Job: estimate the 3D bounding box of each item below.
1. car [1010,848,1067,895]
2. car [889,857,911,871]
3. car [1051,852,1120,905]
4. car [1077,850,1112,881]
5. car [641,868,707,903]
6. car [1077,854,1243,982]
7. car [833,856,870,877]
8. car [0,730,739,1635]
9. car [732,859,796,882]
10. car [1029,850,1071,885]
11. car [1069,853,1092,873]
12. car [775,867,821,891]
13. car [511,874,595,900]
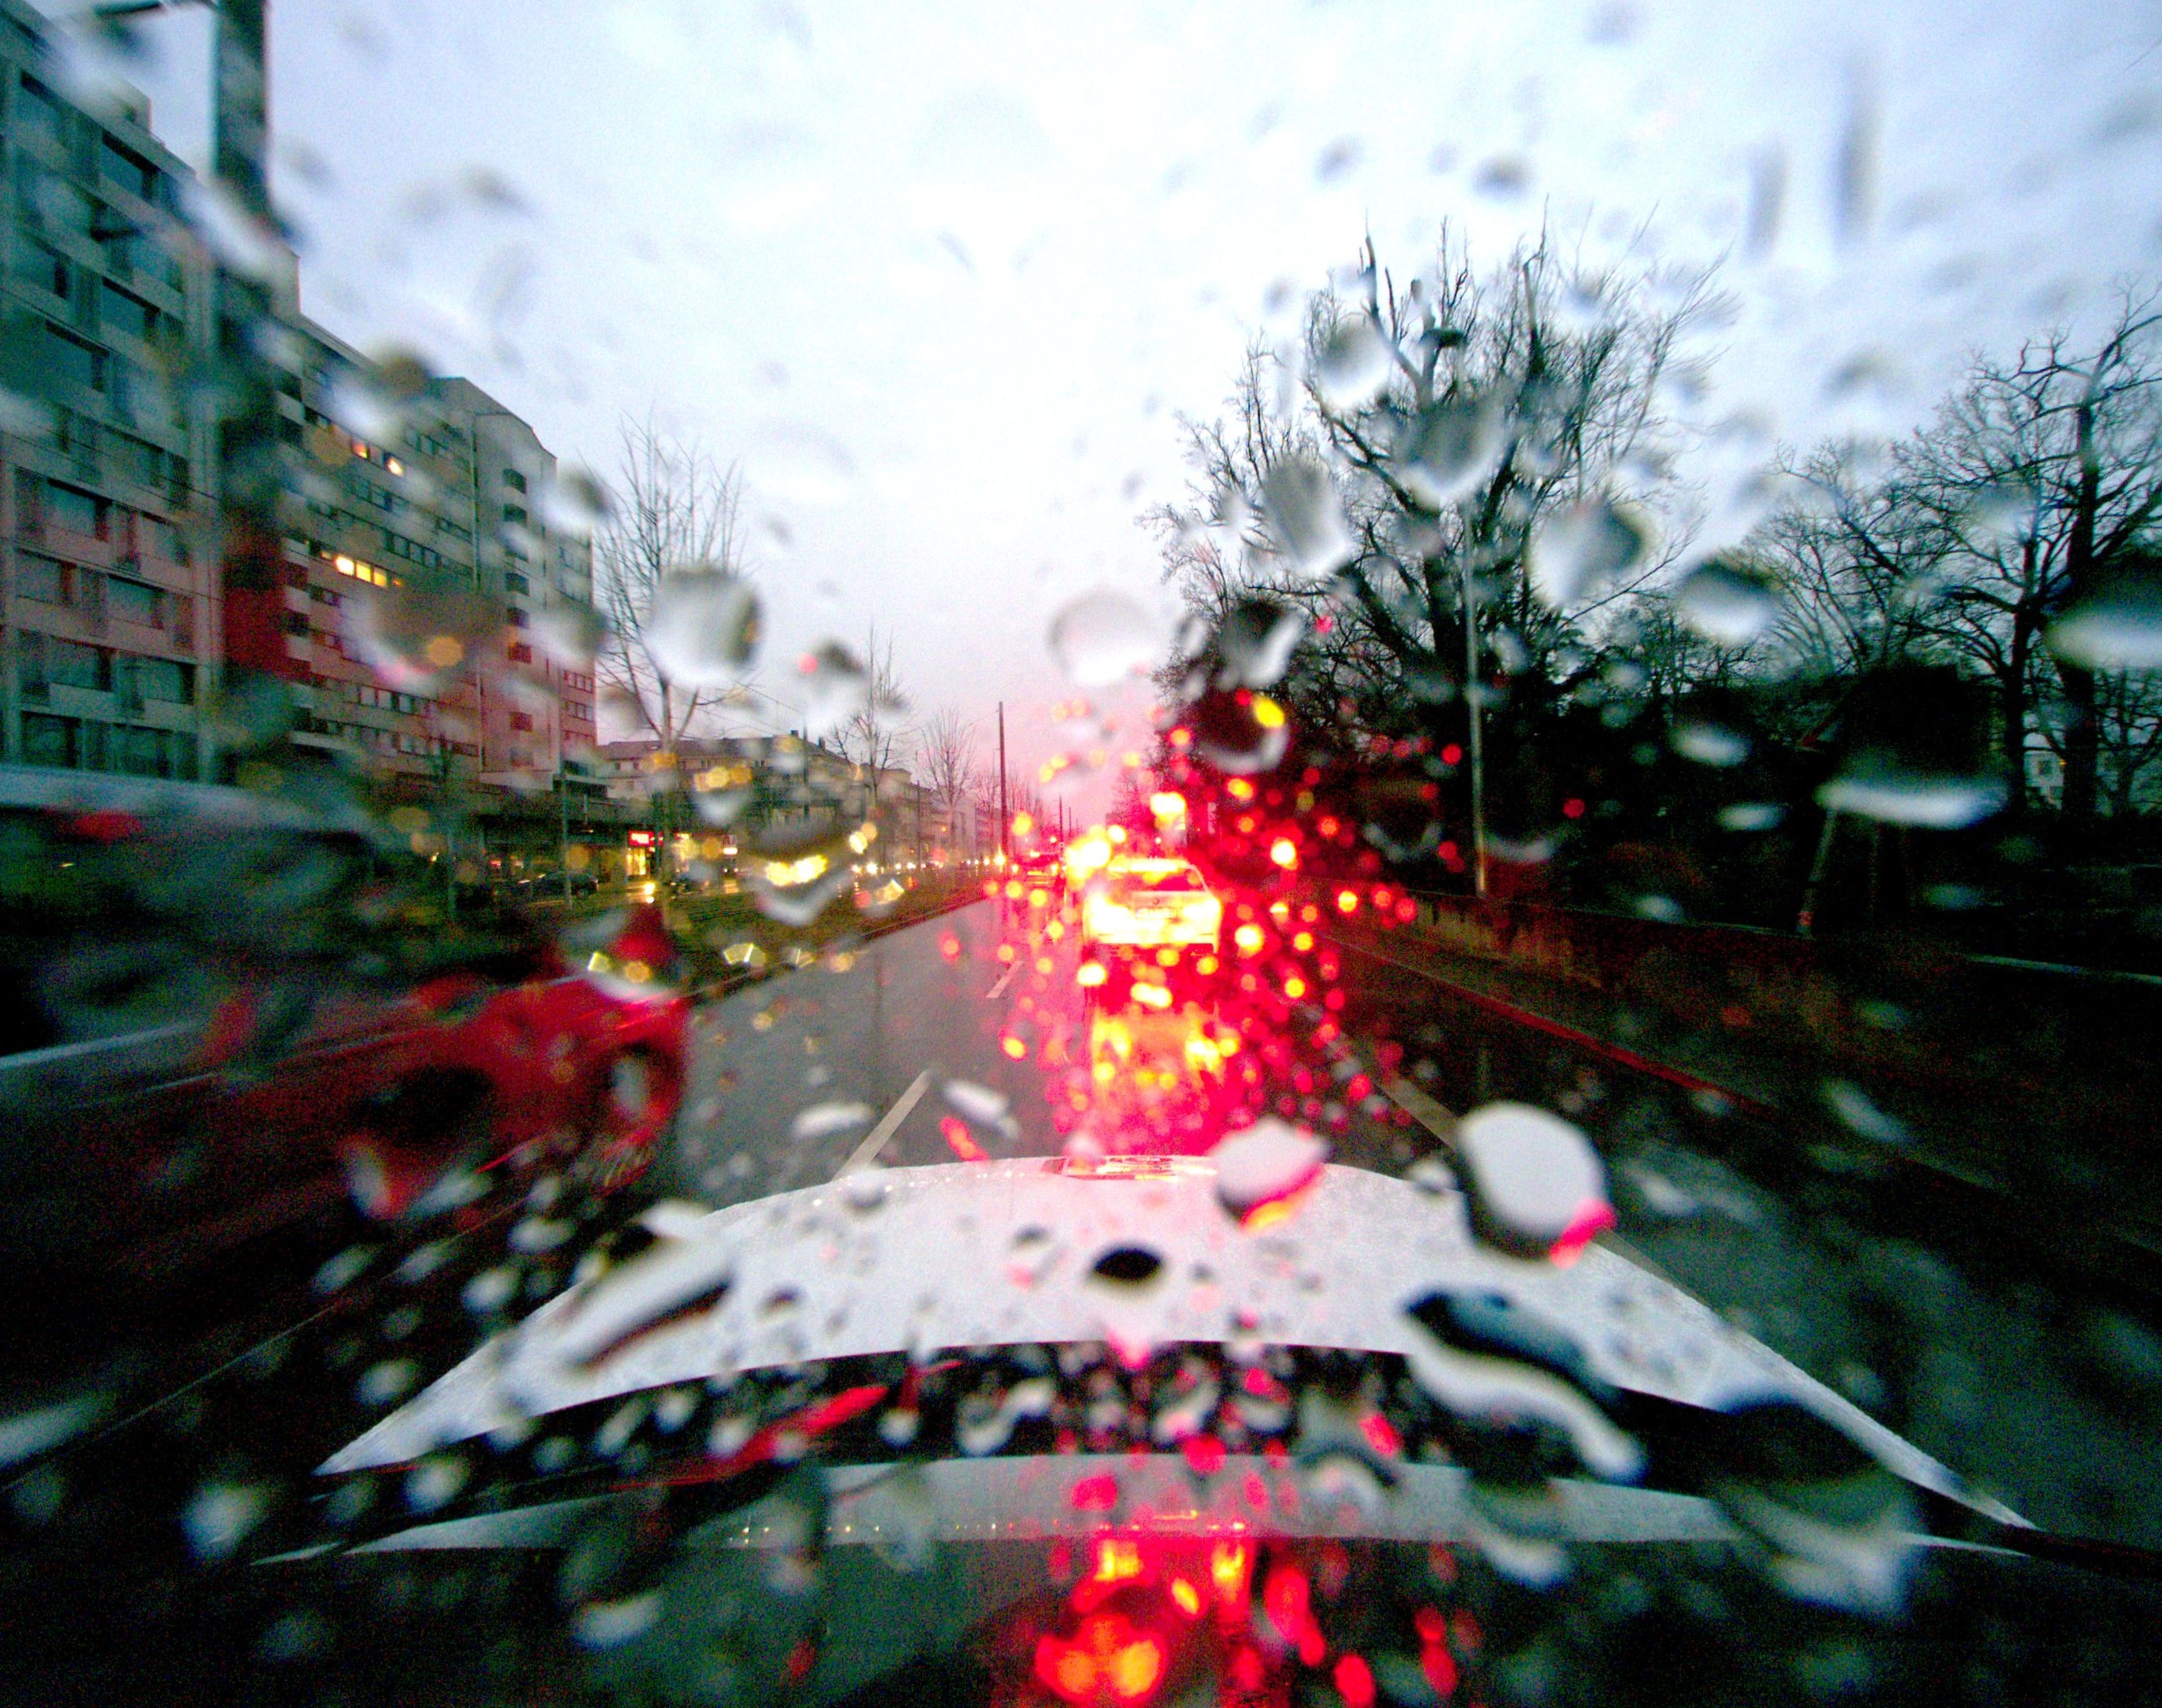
[{"bbox_3d":[-1.535,0.607,30.706,1.799,1.646,4.002,0,0,2],"label":"car"},{"bbox_3d":[-23.601,1.288,106.490,1.891,1.719,4.913,-1,0,-2],"label":"car"},{"bbox_3d":[0.201,0.690,25.198,1.928,1.457,4.165,-1,0,2],"label":"car"},{"bbox_3d":[0.771,0.596,44.556,1.799,1.646,4.002,0,0,2],"label":"car"},{"bbox_3d":[-24.210,1.818,48.592,1.715,1.885,3.929,-2,0,3],"label":"car"},{"bbox_3d":[1.037,0.780,11.989,1.991,1.508,4.165,-1,0,2],"label":"car"},{"bbox_3d":[-20.088,1.083,71.470,1.890,1.719,5.115,-2,0,-1],"label":"car"},{"bbox_3d":[-2.945,0.638,2.479,1.787,1.736,4.538,0,0,1],"label":"car"},{"bbox_3d":[-29.472,1.537,75.838,5.193,1.912,1.975,-2,0,-43],"label":"car"},{"bbox_3d":[-1.643,0.702,44.015,1.986,1.755,4.001,0,0,1],"label":"car"},{"bbox_3d":[-0.049,0.720,70.464,1.799,1.646,4.002,0,0,2],"label":"car"},{"bbox_3d":[-19.200,1.666,55.434,1.891,1.431,3.704,-2,0,-2],"label":"car"},{"bbox_3d":[-30.542,1.896,47.207,4.015,1.387,1.916,1,-1,-33],"label":"car"}]
